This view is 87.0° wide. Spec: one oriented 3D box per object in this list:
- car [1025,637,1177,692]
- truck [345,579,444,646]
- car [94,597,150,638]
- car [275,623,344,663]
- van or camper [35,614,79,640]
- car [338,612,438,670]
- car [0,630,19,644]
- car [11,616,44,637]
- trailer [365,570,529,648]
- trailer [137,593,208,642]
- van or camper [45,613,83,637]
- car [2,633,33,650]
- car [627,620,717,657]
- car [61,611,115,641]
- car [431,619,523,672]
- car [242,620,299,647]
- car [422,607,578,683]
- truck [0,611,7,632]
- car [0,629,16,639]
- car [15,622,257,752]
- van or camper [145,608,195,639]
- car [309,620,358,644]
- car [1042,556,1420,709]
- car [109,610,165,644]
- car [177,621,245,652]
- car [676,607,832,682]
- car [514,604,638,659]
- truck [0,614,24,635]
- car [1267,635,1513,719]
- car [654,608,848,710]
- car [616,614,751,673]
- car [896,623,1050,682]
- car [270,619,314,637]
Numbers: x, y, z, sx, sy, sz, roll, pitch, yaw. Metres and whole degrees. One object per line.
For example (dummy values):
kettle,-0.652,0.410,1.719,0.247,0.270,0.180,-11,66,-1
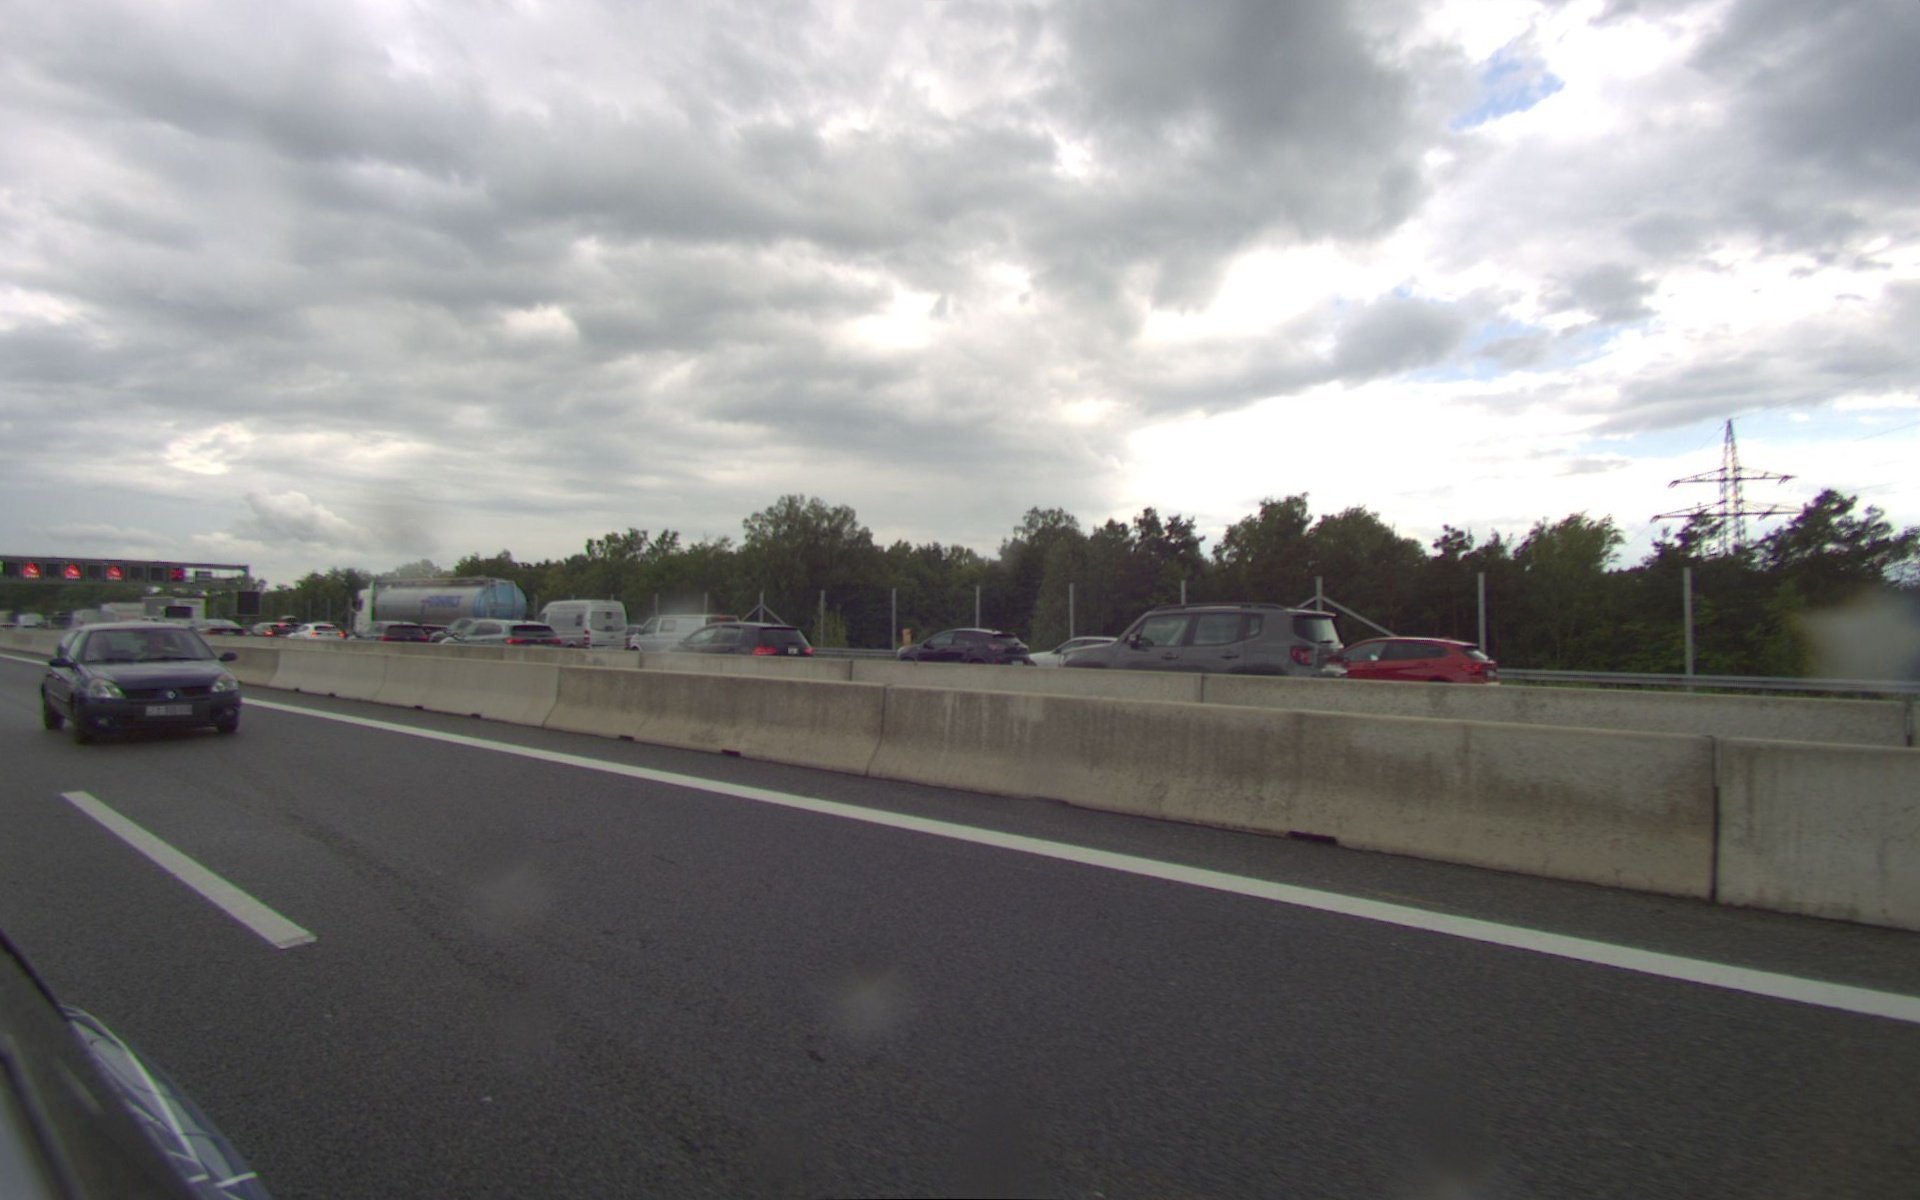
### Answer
car,4.157,1.871,30.148,3.998,1.462,2.094,-2,-1,41
truck,-31.409,0.738,56.083,6.796,3.540,2.700,-2,-1,41
car,-71.517,1.544,86.309,7.623,3.325,2.472,-2,-1,41
car,-34.670,2.261,53.916,5.039,1.984,1.708,-2,-1,40
van or camper,-73.474,2.200,82.310,6.343,2.029,1.973,-1,-1,41
car,-20.820,1.468,36.775,4.210,1.968,1.874,-2,-1,41
car,-100.054,3.879,106.026,4.391,1.509,1.740,-2,-1,41
car,-114.307,3.228,124.053,6.061,2.507,2.180,-2,-3,40
trailer,-26.567,0.586,51.837,13.603,3.553,2.682,-2,-1,41
trailer,-81.844,1.887,105.038,13.283,4.893,3.115,-2,-1,40
van or camper,-112.984,3.204,127.618,6.206,2.869,2.558,-2,-3,39
car,-87.320,3.860,93.732,4.931,1.504,1.625,-2,-1,41
car,-12.631,1.640,44.338,3.998,1.542,1.973,-1,-1,41
car,-60.272,1.808,69.912,5.628,1.984,2.073,-2,-1,41
car,-19.267,1.765,40.314,3.998,1.968,1.874,-2,-1,41
car,-41.033,1.989,60.182,4.350,1.514,1.781,-1,-1,41
car,-13.209,1.239,28.907,5.212,1.952,2.094,-2,-1,41
truck,-185.892,4.139,194.592,10.751,3.870,2.868,-2,-3,41
car,-131.894,4.659,139.625,5.125,1.368,1.780,-2,-3,40
car,-11.119,1.023,13.503,5.015,1.418,1.758,-2,-1,42
van or camper,-59.399,1.771,76.071,4.968,2.202,2.073,-2,-1,41
car,-40.230,2.043,64.935,3.998,1.514,1.576,-1,-1,41
car,3.577,0.424,13.960,4.704,1.772,1.850,-2,-1,41
car,-49.763,1.620,61.152,4.803,1.984,1.844,-1,-1,41
car,-37.842,1.803,51.081,4.970,1.495,1.746,-1,-1,41
car,-5.887,1.223,28.694,4.424,1.952,2.094,-2,-1,41
car,-16.480,1.327,43.155,6.615,2.166,2.094,-2,-1,41
truck,-165.971,4.284,177.048,7.801,3.564,2.438,-2,-3,40
car,8.516,1.454,20.234,4.139,1.468,1.850,-2,-1,41
car,-4.536,1.194,21.719,3.998,1.952,2.094,-2,-1,41
car,-10.116,1.551,36.765,5.436,1.952,2.094,-2,-1,41
car,0.314,1.384,27.866,3.998,1.463,1.848,-1,-1,41
car,-51.758,2.143,78.431,3.998,1.331,1.870,-1,-1,41
